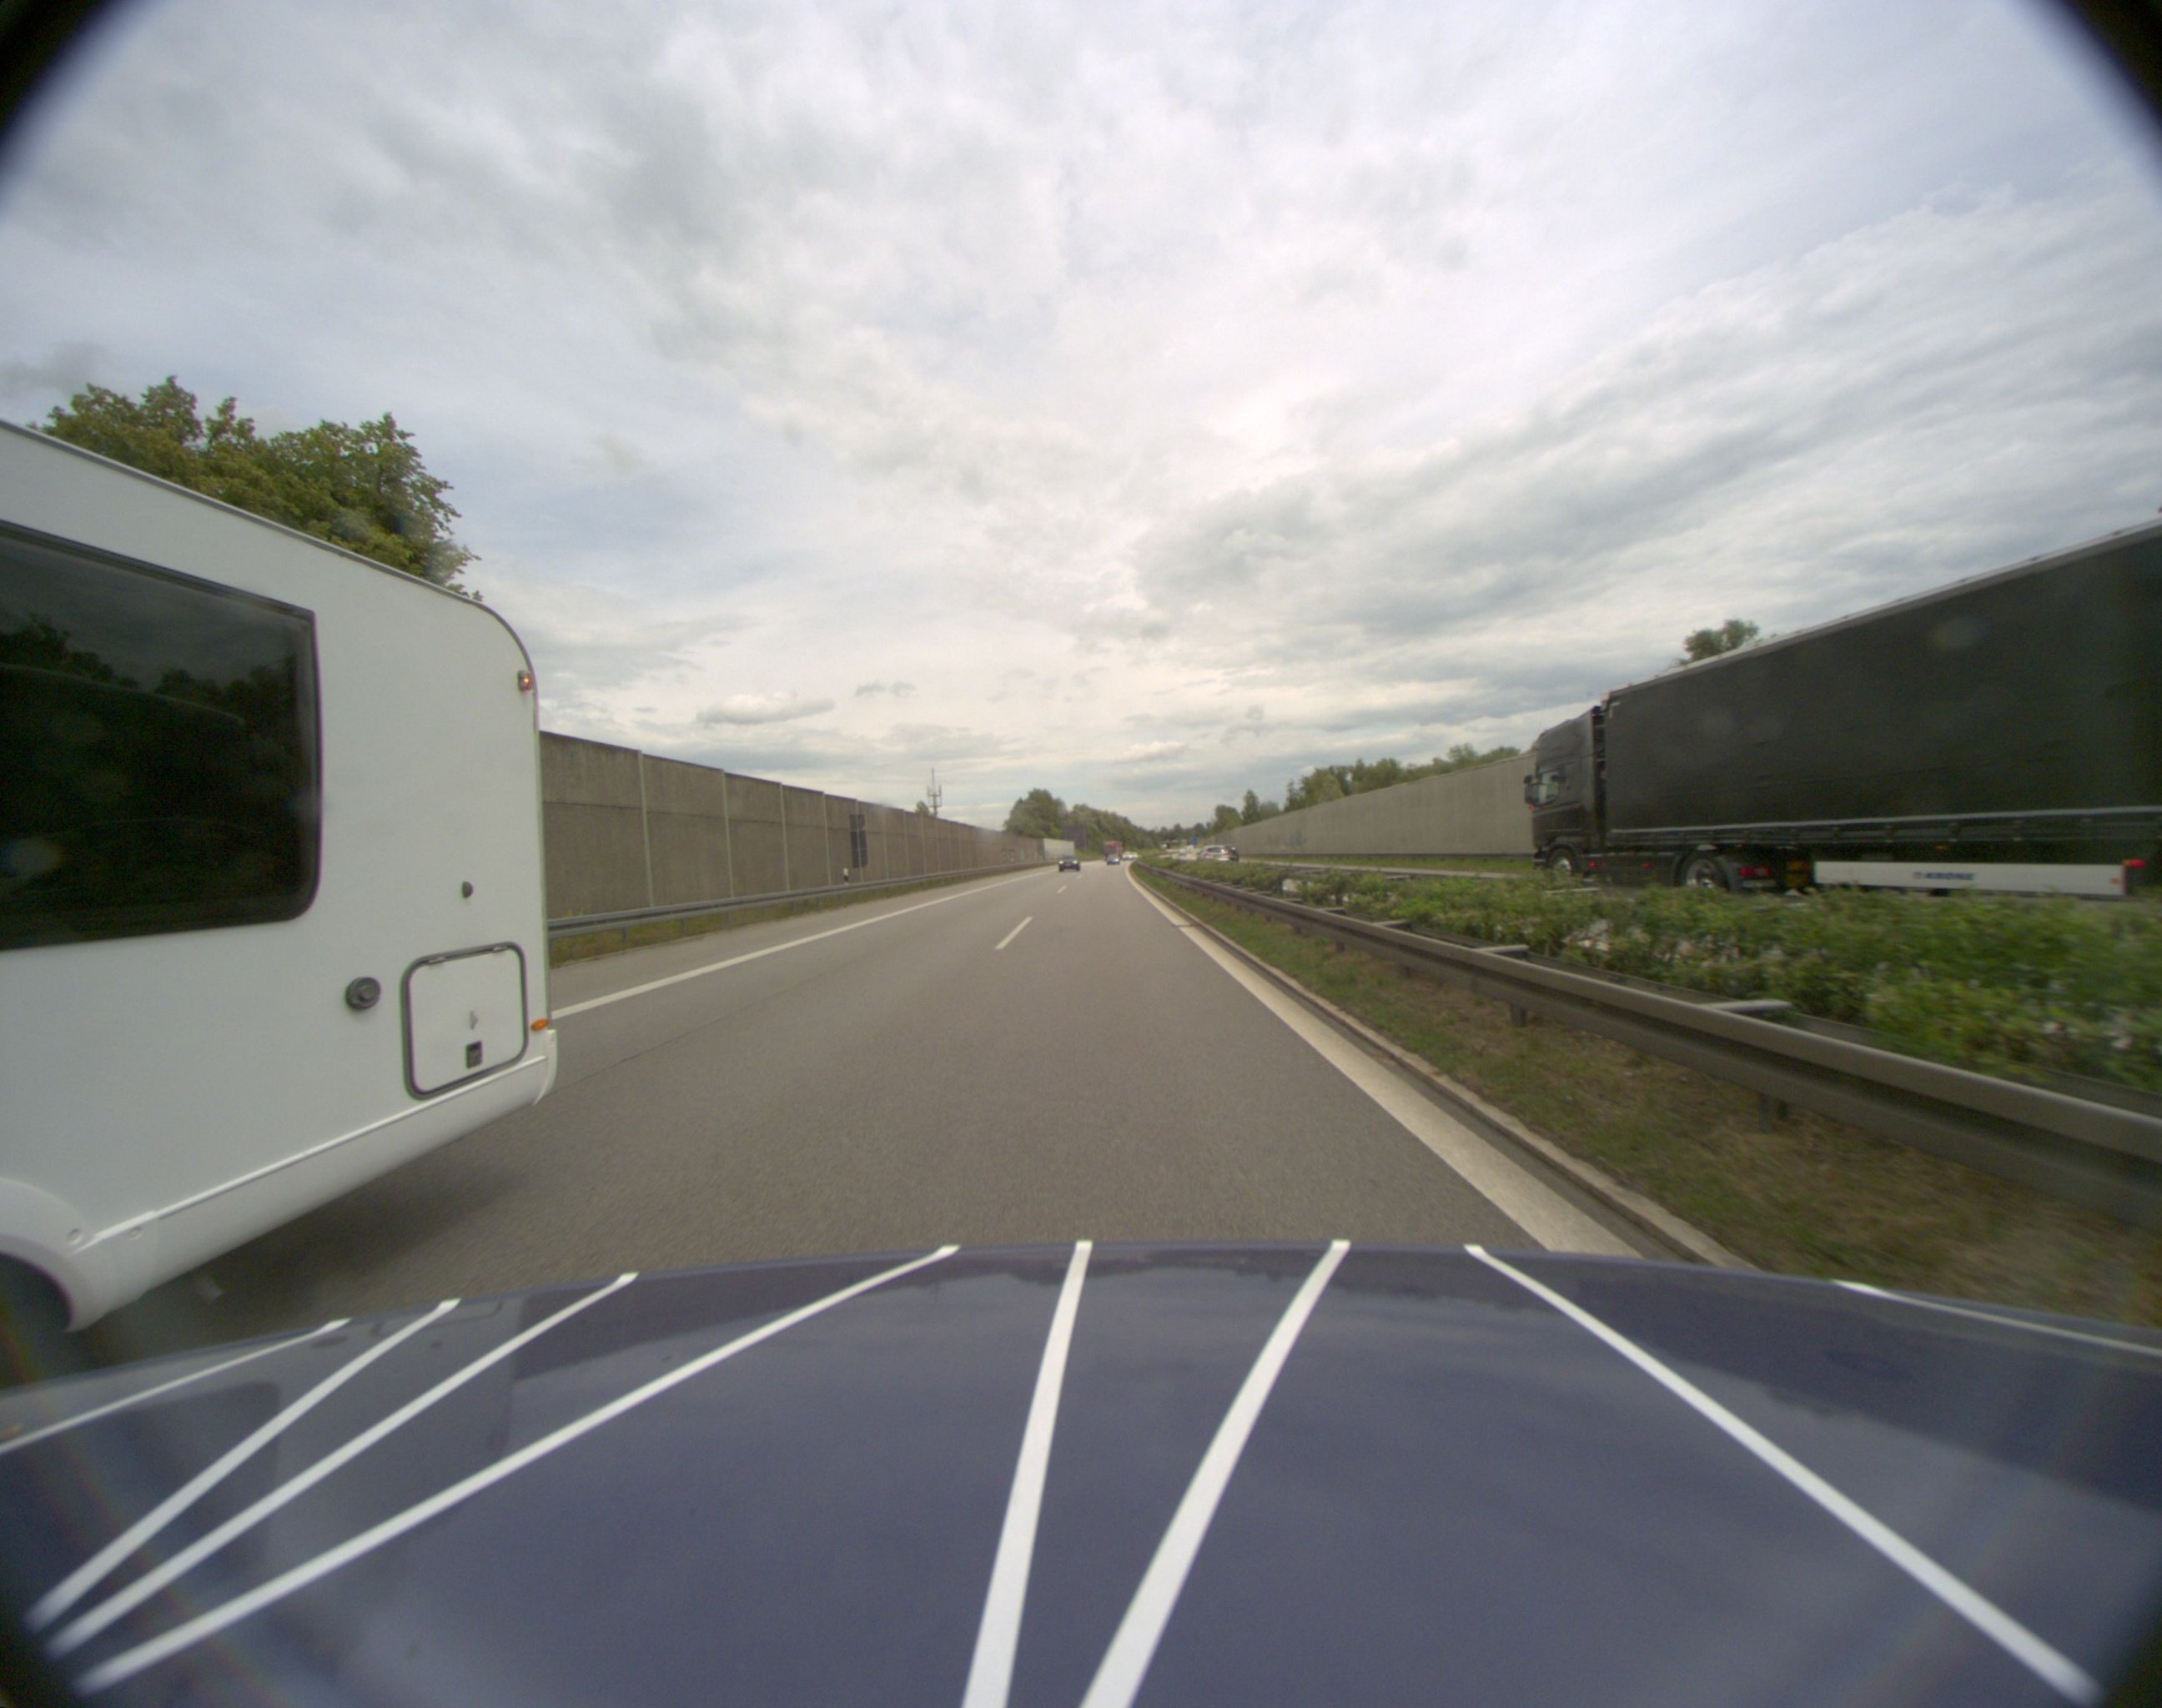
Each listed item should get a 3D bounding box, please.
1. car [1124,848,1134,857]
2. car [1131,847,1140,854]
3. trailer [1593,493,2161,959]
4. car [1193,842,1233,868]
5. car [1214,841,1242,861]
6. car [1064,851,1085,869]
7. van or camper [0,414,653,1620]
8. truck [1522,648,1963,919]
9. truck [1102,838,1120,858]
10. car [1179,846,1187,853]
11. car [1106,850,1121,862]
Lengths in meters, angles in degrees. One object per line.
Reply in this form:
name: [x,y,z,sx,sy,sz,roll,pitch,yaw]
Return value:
car: [9.365,-0.278,148.474,1.889,1.608,4.001,-1,0,4]
car: [12.826,-0.750,179.237,1.888,1.608,4.002,-1,0,9]
trailer: [11.312,-1.202,7.545,2.989,4.215,14.178,-2,0,1]
car: [8.510,0.028,49.350,1.936,1.540,4.567,-2,0,2]
car: [12.902,-0.299,66.912,1.719,1.632,4.705,-2,0,3]
car: [-0.585,0.520,70.907,1.889,1.608,4.000,-1,0,1]
van or camper: [-3.658,0.394,0.483,2.435,2.681,7.225,-2,0,1]
truck: [11.375,-1.038,14.068,2.880,3.836,6.074,-2,1,1]
truck: [6.610,-1.392,164.771,2.933,4.068,11.347,-2,0,6]
car: [24.941,-1.163,185.858,1.745,1.734,4.628,-2,0,4]
car: [4.599,0.215,106.019,1.889,1.608,4.001,-1,0,5]
